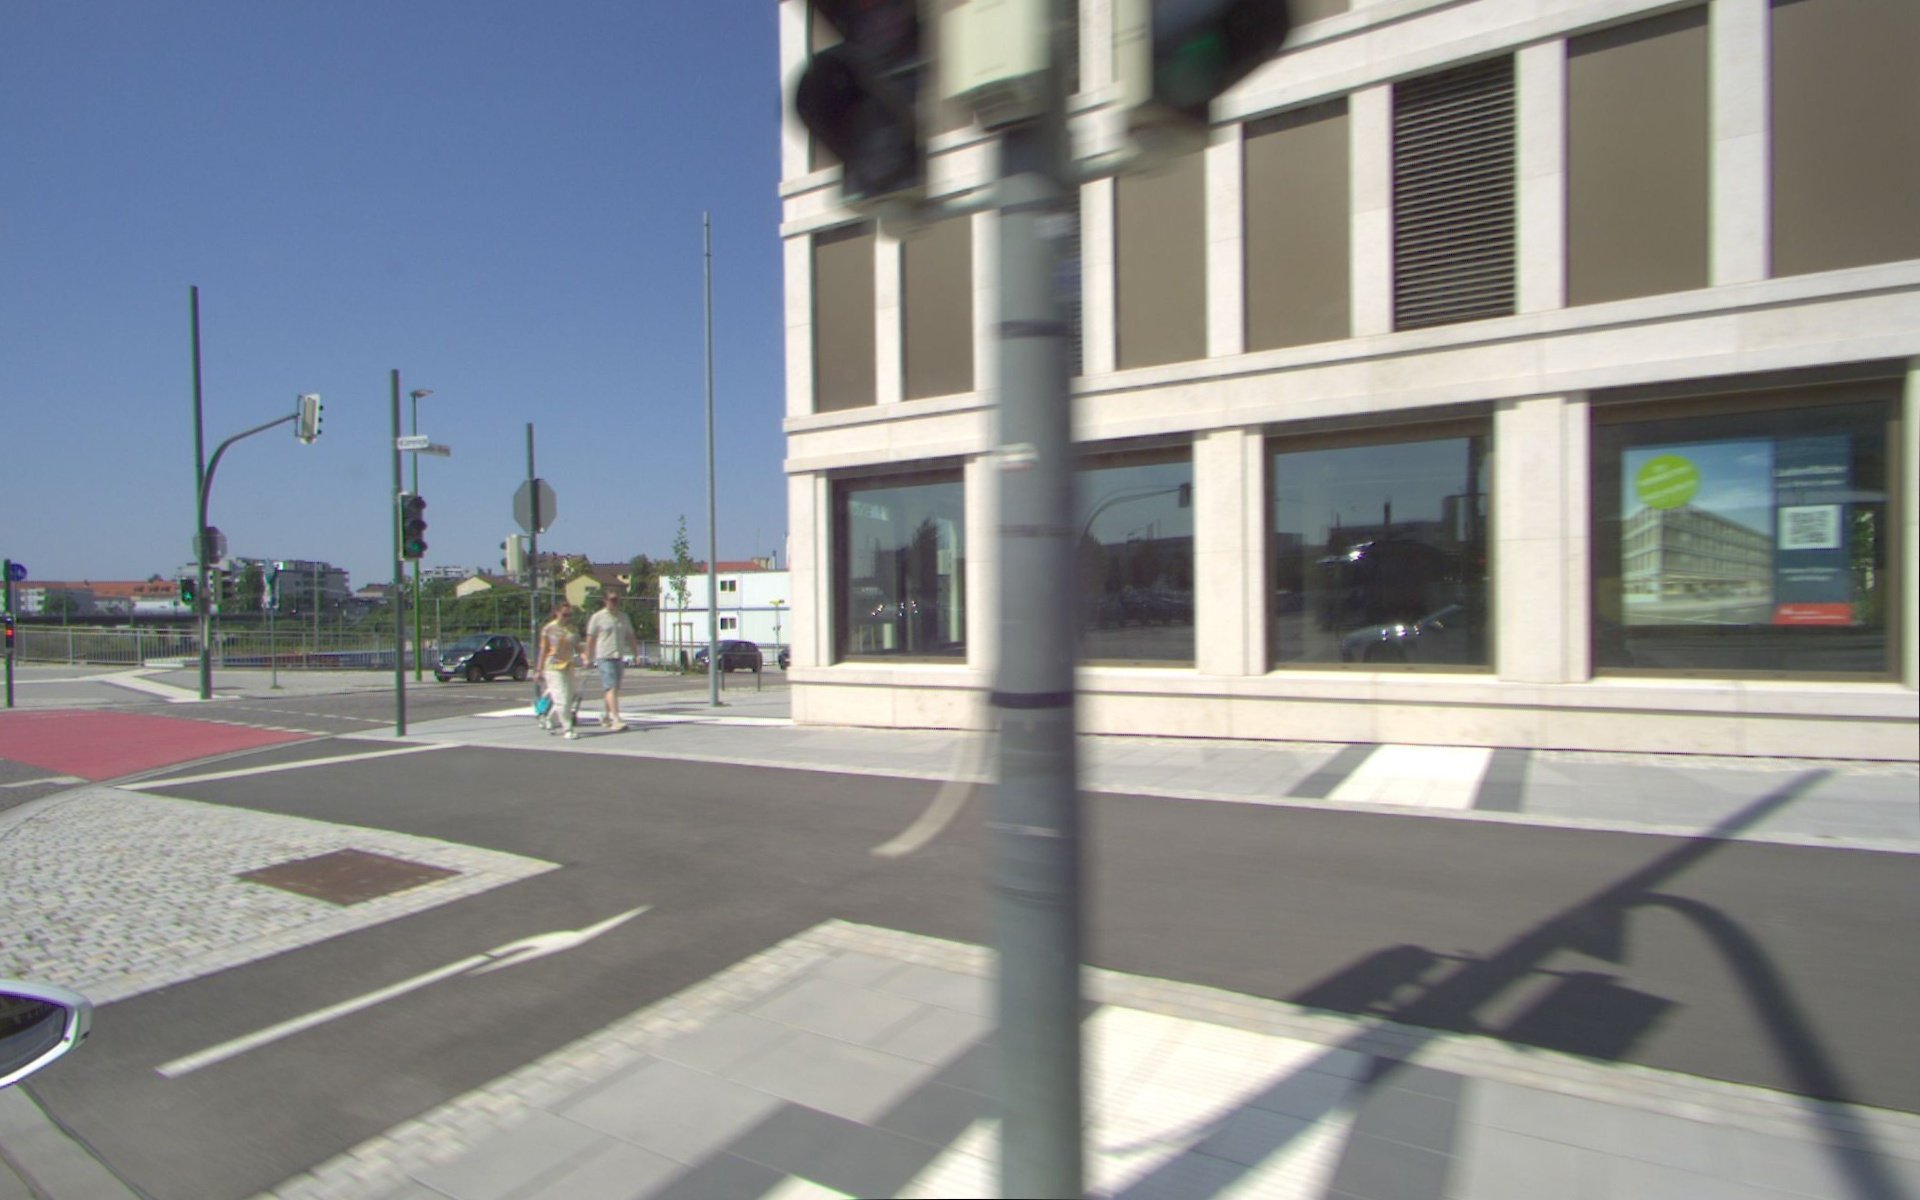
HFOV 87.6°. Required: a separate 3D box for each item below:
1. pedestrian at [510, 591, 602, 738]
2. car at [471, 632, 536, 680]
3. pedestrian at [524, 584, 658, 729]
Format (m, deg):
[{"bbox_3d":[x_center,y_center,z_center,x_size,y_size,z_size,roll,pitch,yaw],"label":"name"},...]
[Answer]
[{"bbox_3d":[-4.994,0.783,12.395,0.785,1.746,0.698,-2,0,32],"label":"pedestrian"},{"bbox_3d":[-15.173,1.855,33.415,1.433,1.482,3.365,0,-2,-15],"label":"car"},{"bbox_3d":[-5.021,0.747,13.610,1.641,1.850,0.876,-1,-1,32],"label":"pedestrian"}]
